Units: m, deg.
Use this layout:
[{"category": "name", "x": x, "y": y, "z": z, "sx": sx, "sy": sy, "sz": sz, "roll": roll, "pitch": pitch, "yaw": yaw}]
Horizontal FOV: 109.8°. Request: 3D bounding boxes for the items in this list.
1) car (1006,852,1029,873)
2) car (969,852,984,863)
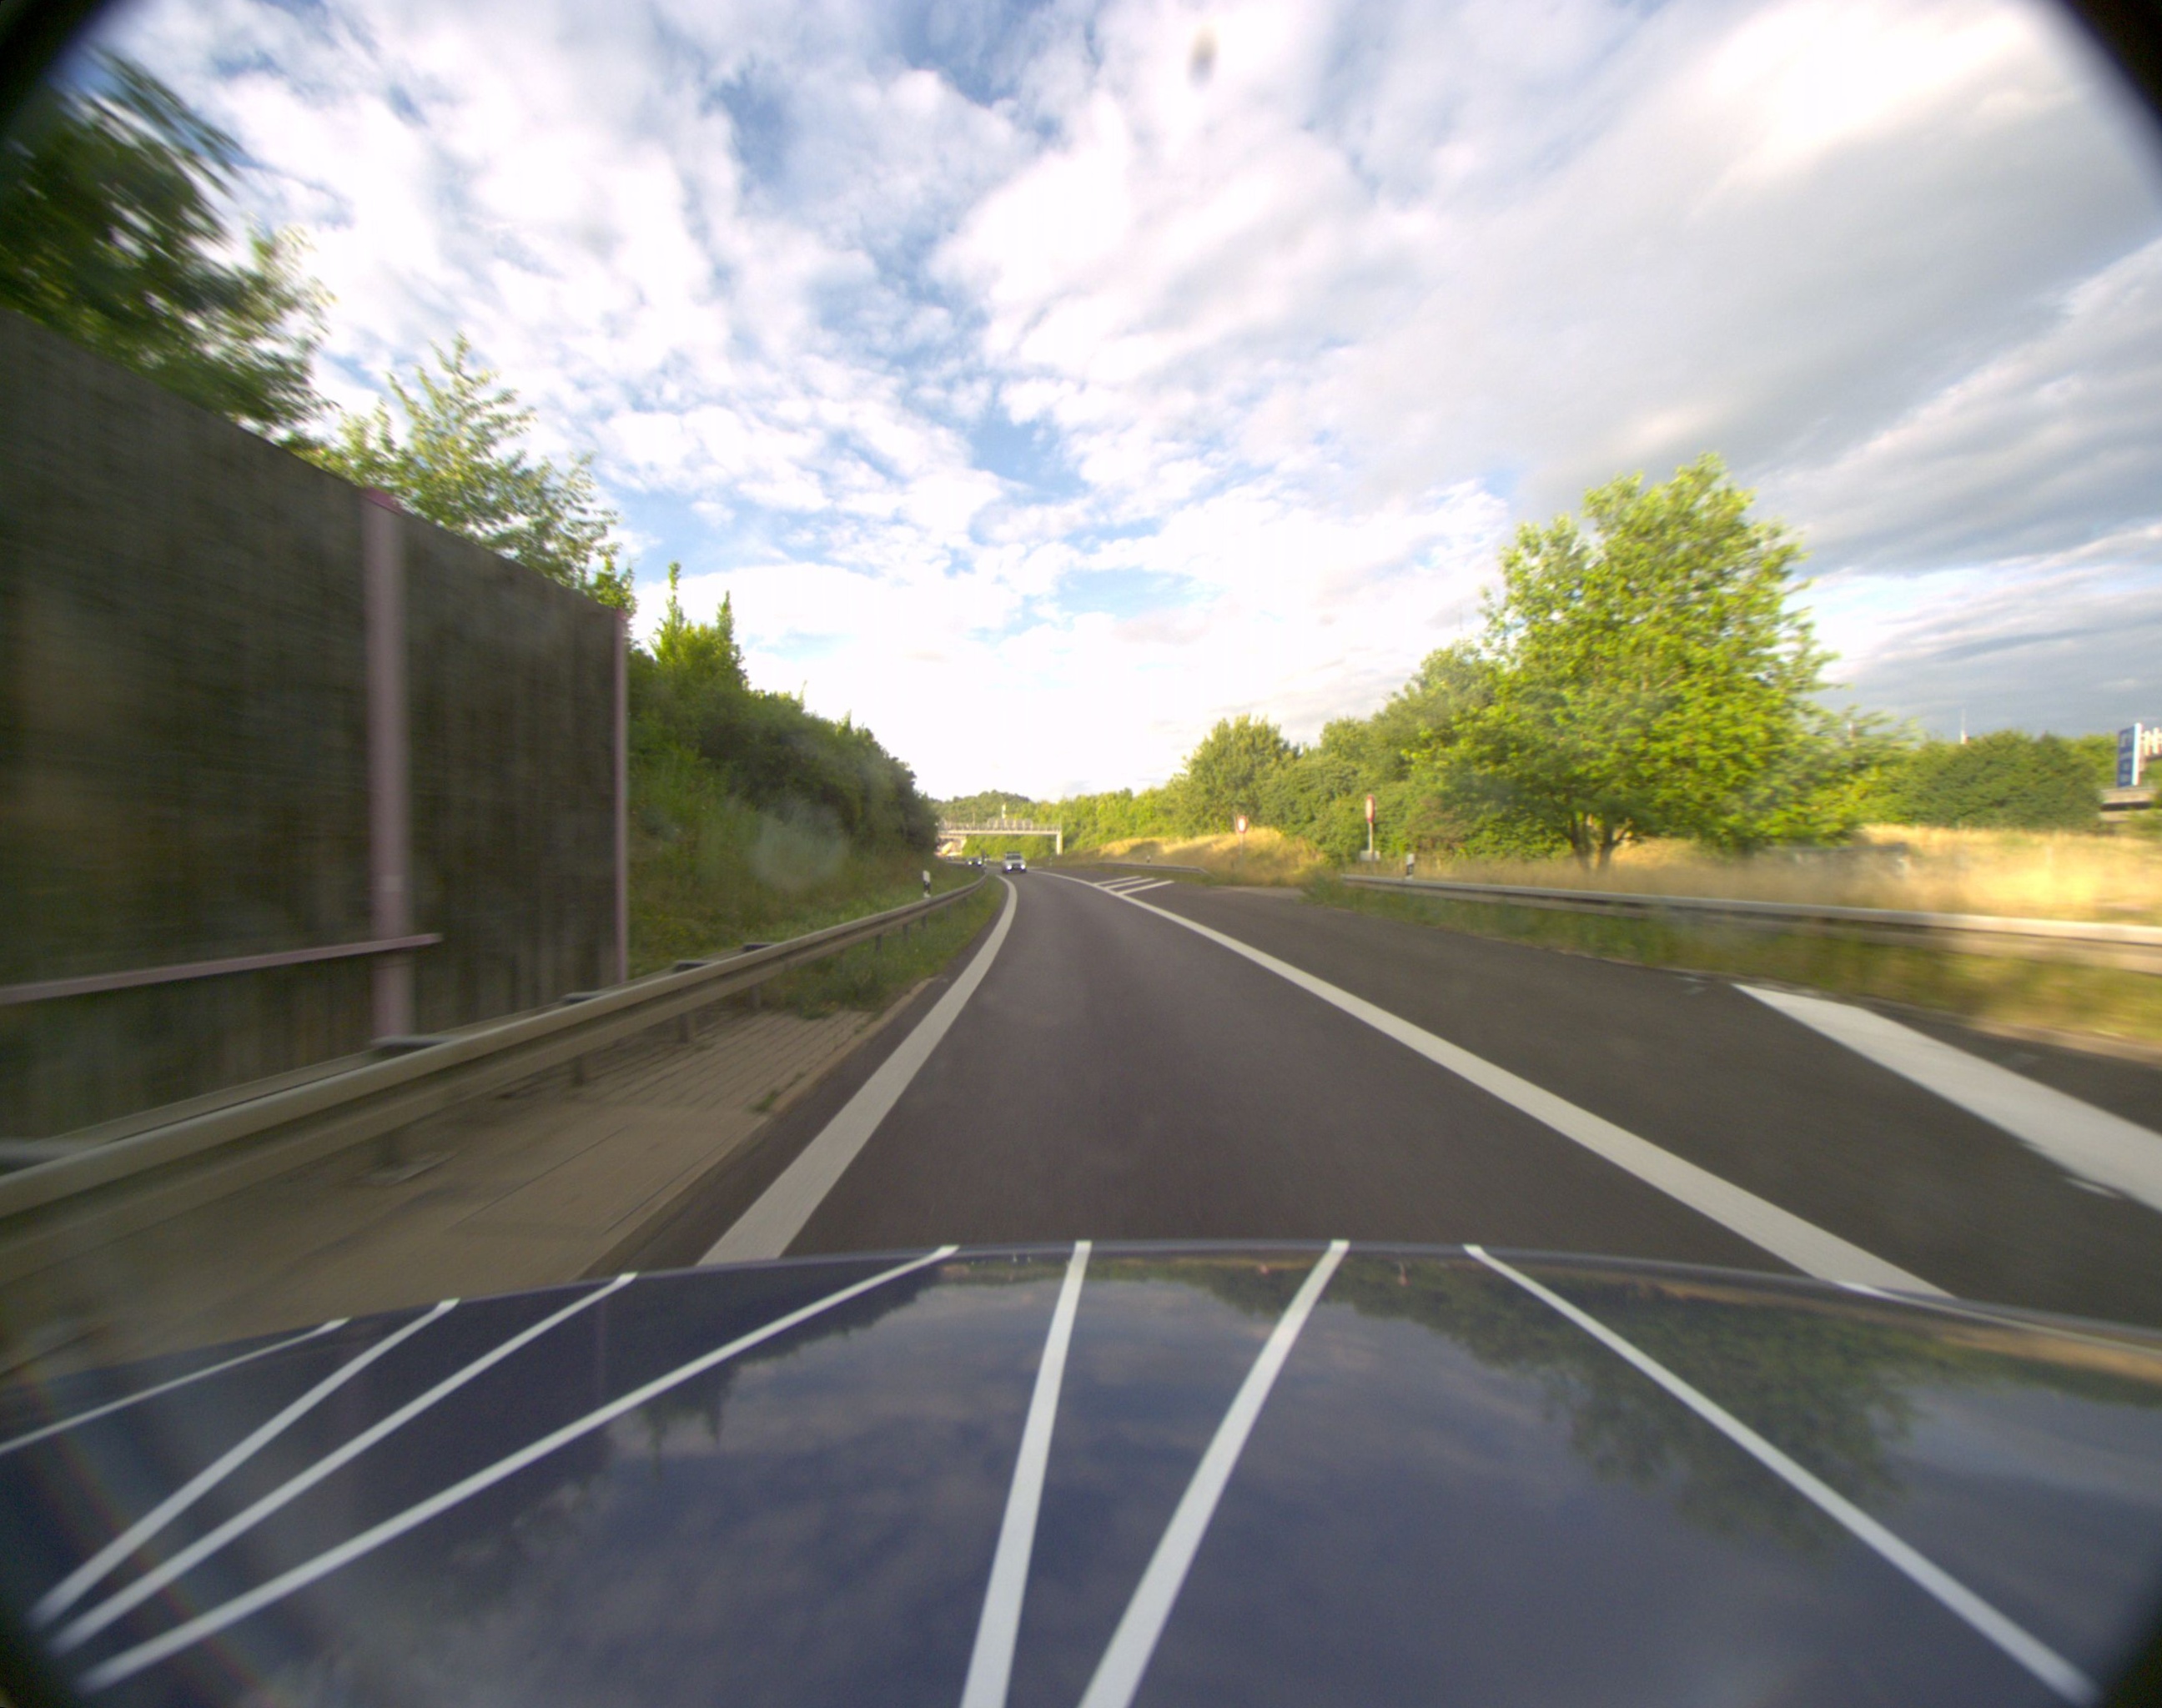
[{"category": "car", "x": -5.674, "y": 0.707, "z": 67.875, "sx": 1.906, "sy": 1.655, "sz": 3.998, "roll": -4, "pitch": 1, "yaw": -5}, {"category": "car", "x": -14.578, "y": 0.456, "z": 105.931, "sx": 1.621, "sy": 1.451, "sz": 3.658, "roll": -2, "pitch": 1, "yaw": -14}]
